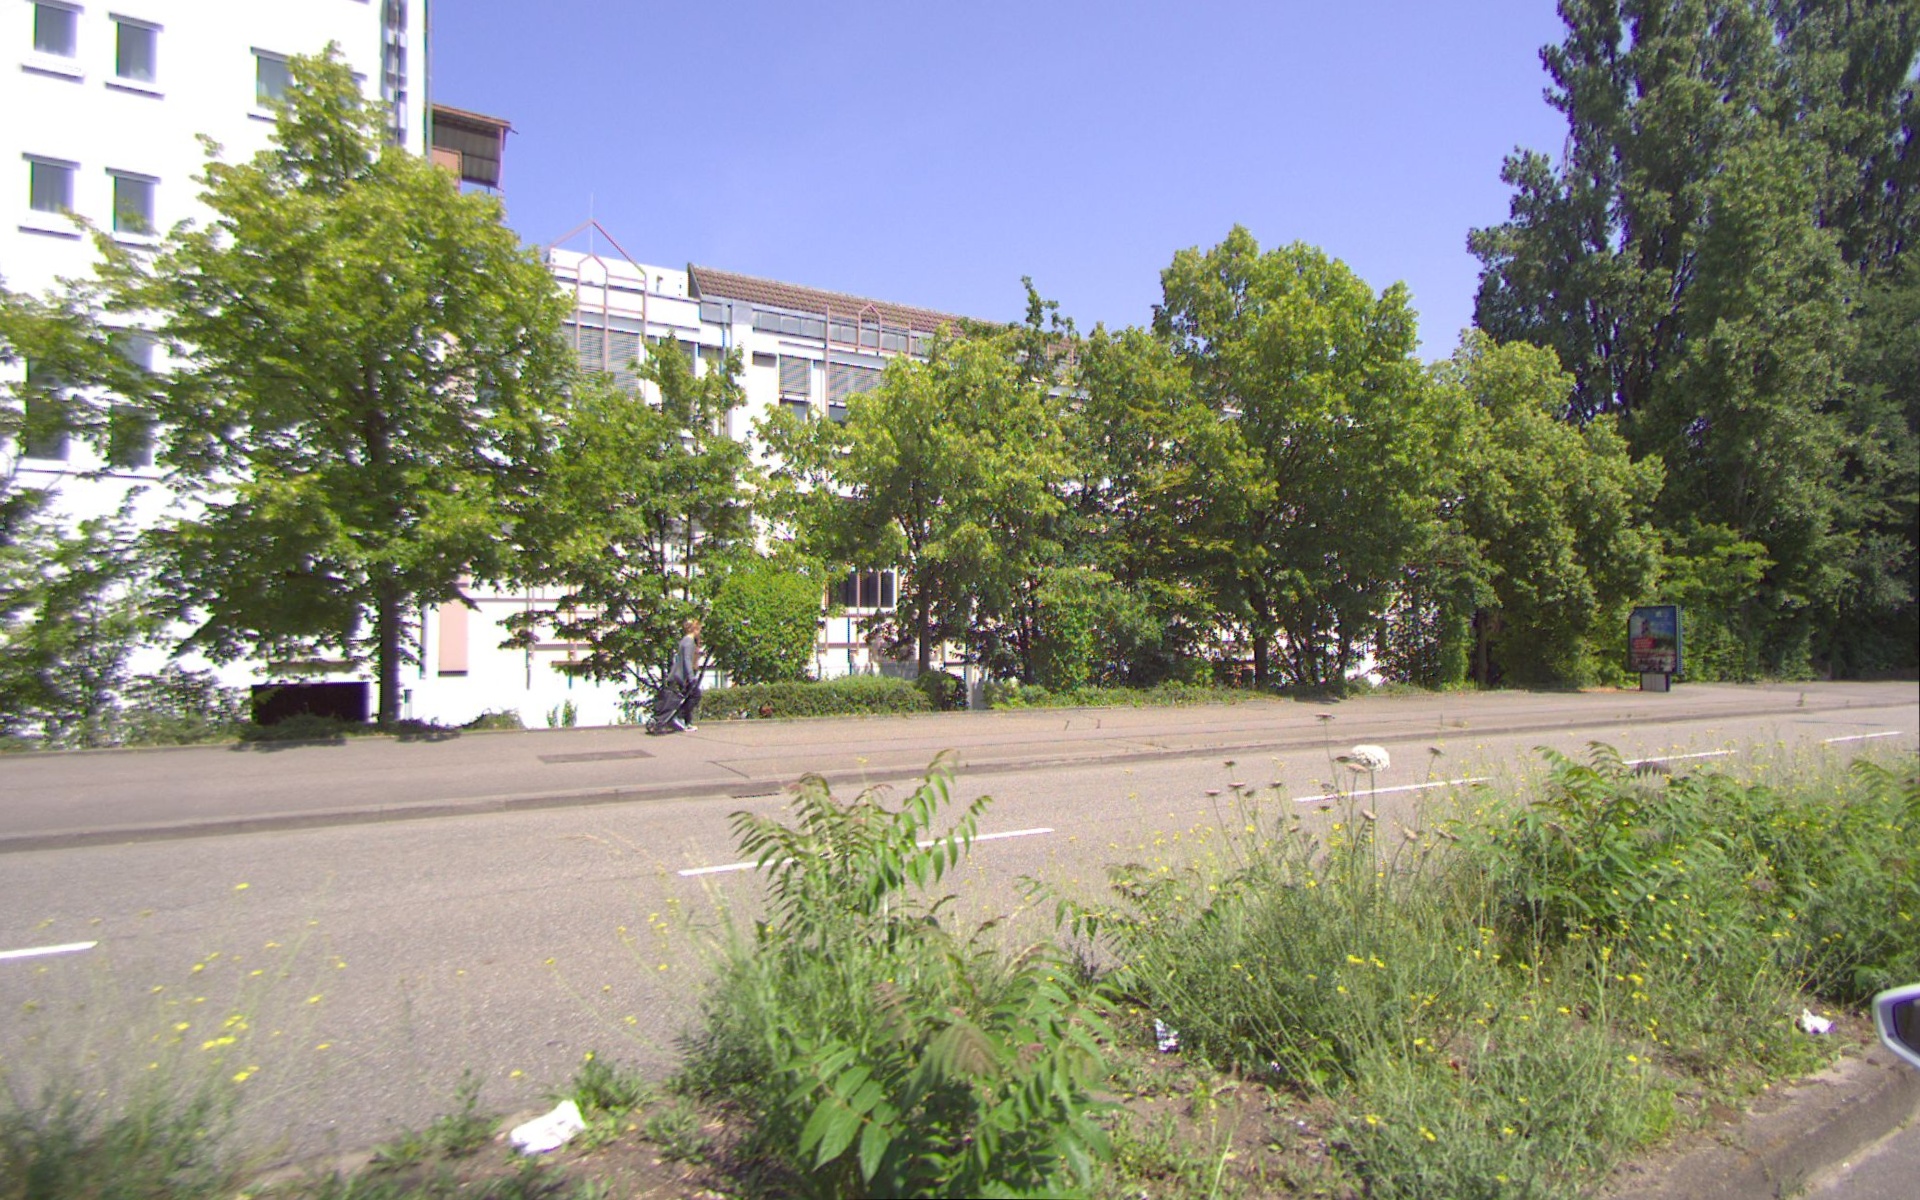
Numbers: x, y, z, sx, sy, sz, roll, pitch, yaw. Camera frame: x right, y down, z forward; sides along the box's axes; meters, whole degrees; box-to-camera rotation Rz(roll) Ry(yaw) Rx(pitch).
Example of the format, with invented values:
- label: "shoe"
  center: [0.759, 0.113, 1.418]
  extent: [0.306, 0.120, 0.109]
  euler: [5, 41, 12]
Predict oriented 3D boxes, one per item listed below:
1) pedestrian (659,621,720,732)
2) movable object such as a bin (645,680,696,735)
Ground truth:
- label: "pedestrian"
  center: [-3.943, 1.094, 14.648]
  extent: [0.719, 1.565, 0.630]
  euler: [1, -2, -31]
- label: "movable object such as a bin"
  center: [-4.060, 1.497, 14.064]
  extent: [0.642, 0.714, 0.427]
  euler: [1, -2, -22]
